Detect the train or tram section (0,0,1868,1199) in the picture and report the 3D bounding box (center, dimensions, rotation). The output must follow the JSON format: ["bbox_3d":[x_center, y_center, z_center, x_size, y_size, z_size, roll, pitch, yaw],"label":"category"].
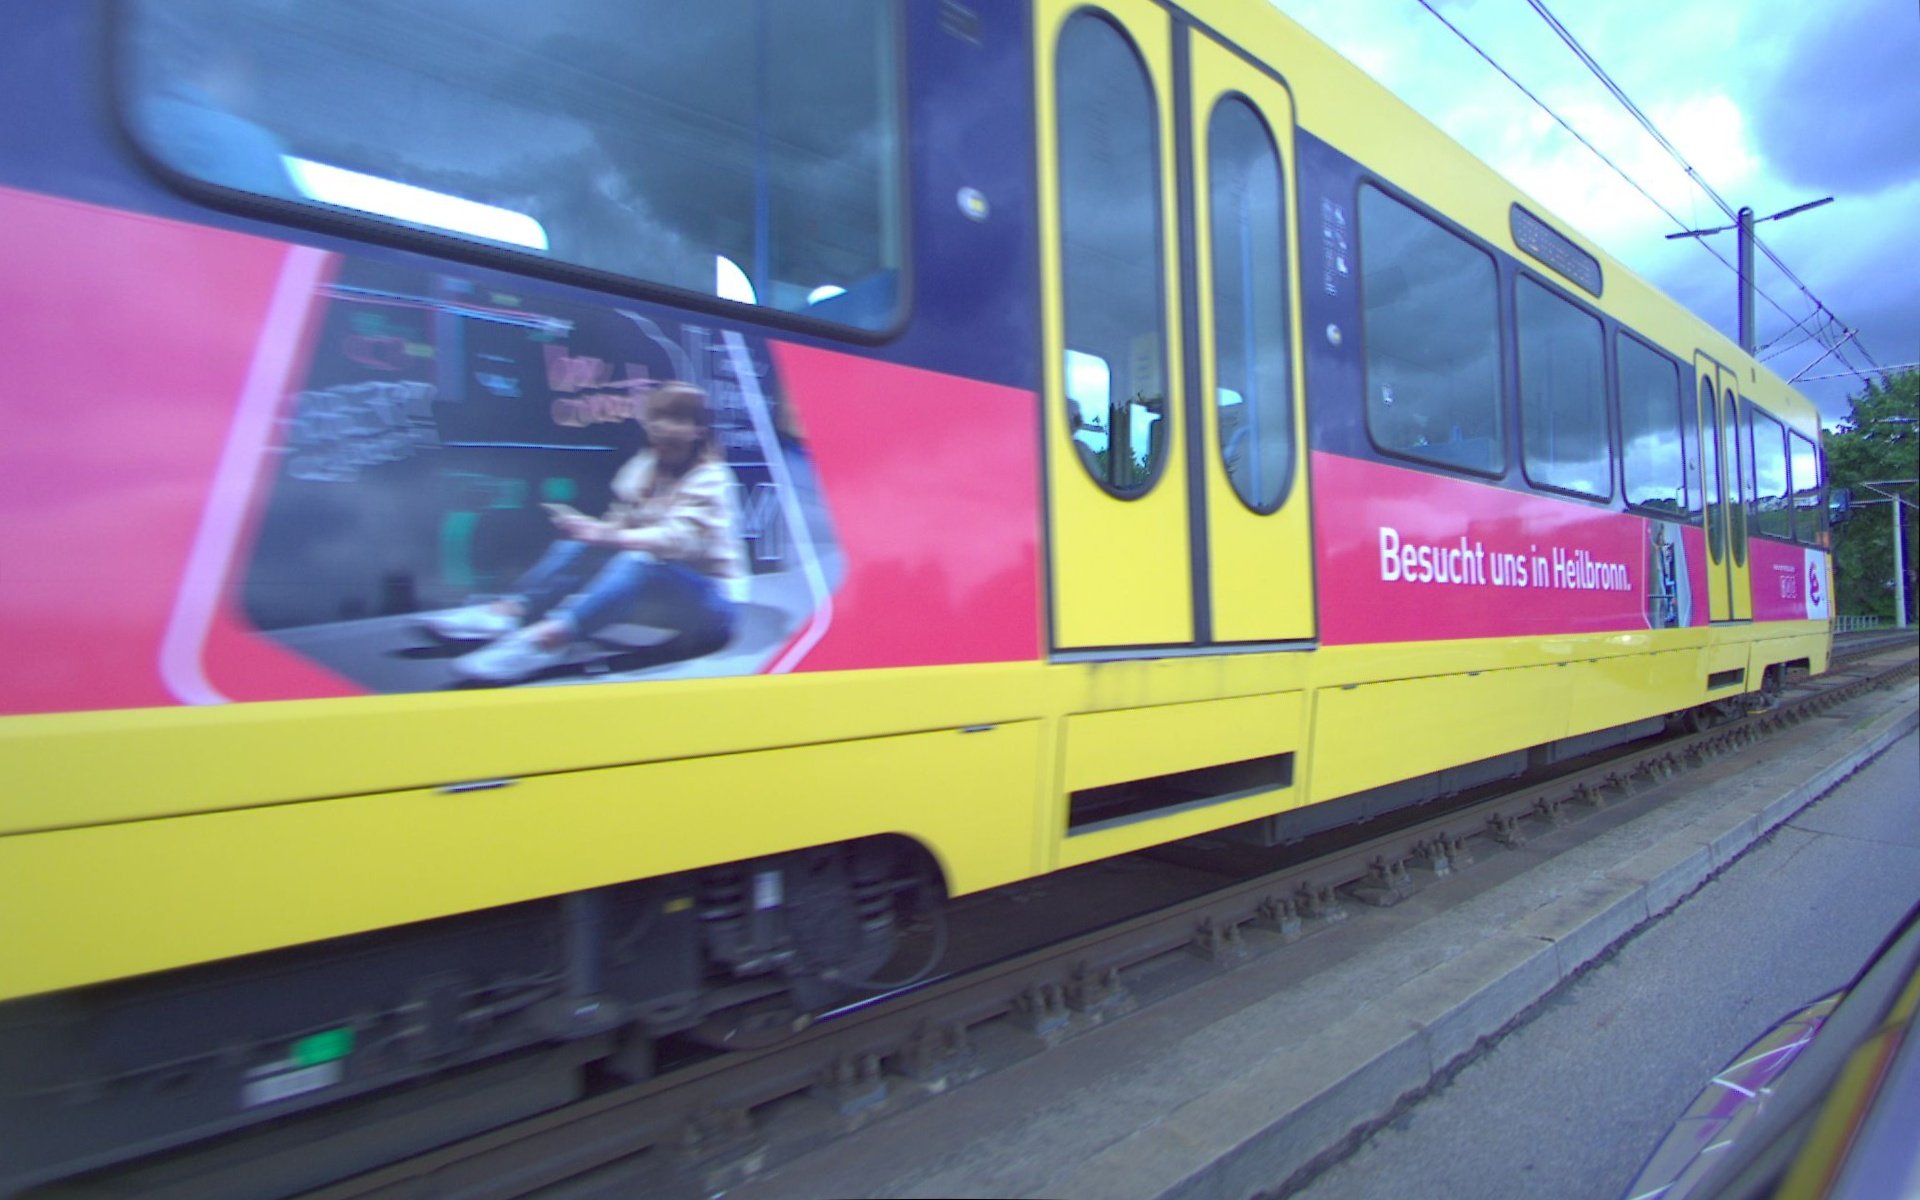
[{"bbox_3d":[2.369,-0.447,6.292,18.344,3.553,2.887,0,1,-42],"label":"train or tram section"}]
